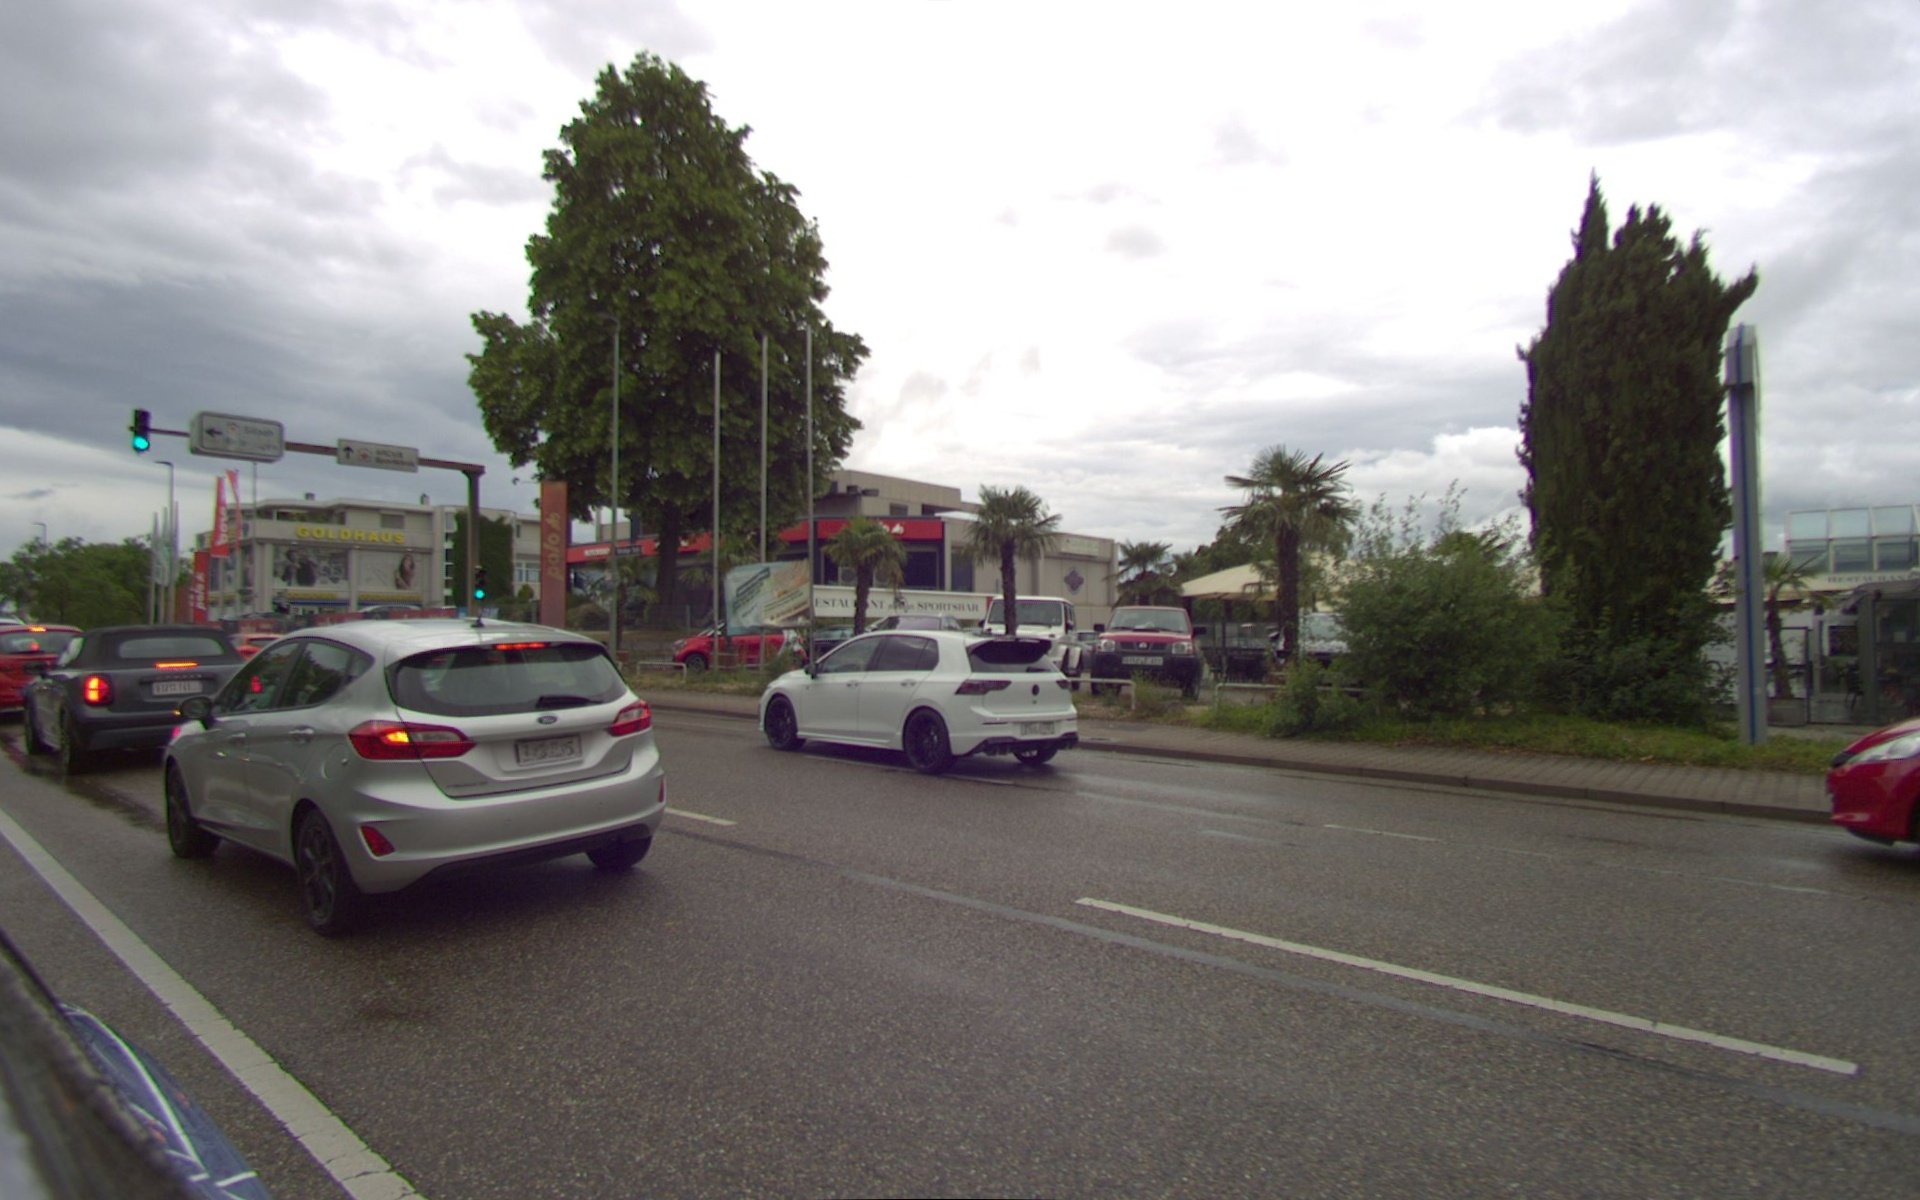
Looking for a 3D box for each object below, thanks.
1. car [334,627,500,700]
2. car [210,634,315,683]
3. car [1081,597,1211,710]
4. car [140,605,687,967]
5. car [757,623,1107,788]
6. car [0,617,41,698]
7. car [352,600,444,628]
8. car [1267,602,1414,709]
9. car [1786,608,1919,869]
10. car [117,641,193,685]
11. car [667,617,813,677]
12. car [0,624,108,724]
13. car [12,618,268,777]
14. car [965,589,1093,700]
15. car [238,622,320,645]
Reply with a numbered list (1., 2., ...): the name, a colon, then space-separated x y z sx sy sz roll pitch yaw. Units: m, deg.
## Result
1. car: -11.697 1.349 21.685 4.402 1.410 1.585 -3 -5 40
2. car: -20.536 1.726 29.747 3.944 1.342 1.605 -3 -4 41
3. car: 3.540 0.988 18.558 1.981 1.715 4.990 2 -3 14
4. car: -3.430 0.793 5.997 3.947 1.452 1.585 -2 -1 41
5. car: -0.471 1.013 11.207 1.617 1.489 4.049 2 -2 -43
6. car: -21.600 1.263 22.065 4.295 1.662 1.820 -3 -3 41
7. car: -25.644 0.677 46.247 1.453 1.176 3.352 -3 -4 39
8. car: 6.208 0.933 16.982 1.983 1.475 4.343 2 -3 17
9. car: 7.270 0.840 5.716 3.970 1.545 1.620 -1 -4 41
10. car: -31.882 2.484 40.054 3.998 1.630 1.658 -3 -5 42
11. car: -5.830 1.246 26.754 3.556 1.515 1.671 1 -2 -19
12. car: -15.204 1.116 16.324 4.142 1.445 1.615 -1 -2 41
13. car: -9.217 0.982 11.264 3.946 1.452 1.585 -3 -2 41
14. car: 1.554 0.961 21.001 1.980 2.029 4.380 0 -4 13
15. car: -36.353 1.821 54.090 1.453 1.176 3.352 -3 -4 39
